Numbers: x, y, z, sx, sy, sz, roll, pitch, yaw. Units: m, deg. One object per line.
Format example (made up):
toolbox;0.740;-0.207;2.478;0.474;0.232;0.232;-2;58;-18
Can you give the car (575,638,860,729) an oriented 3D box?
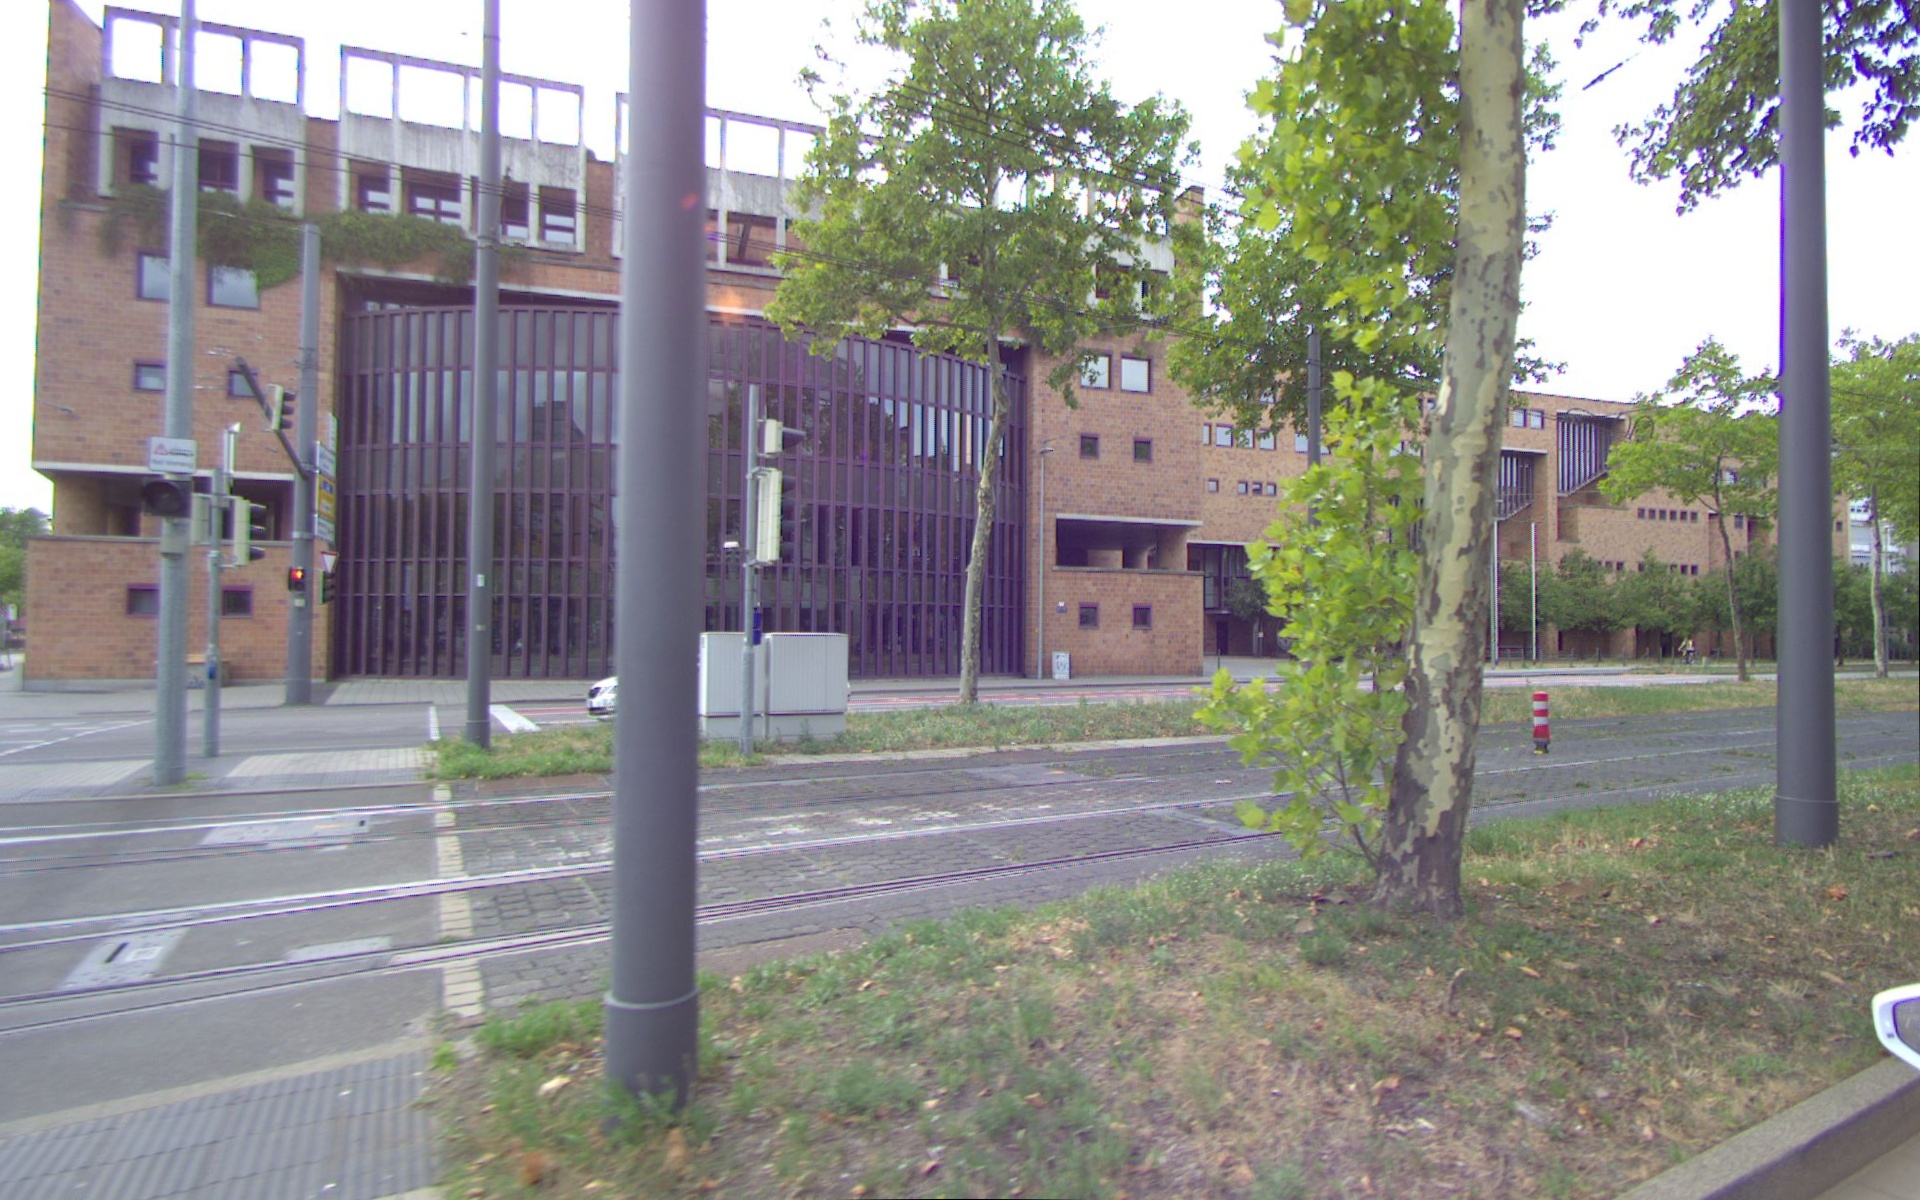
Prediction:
car;-4.232;1.392;17.794;4.604;1.440;1.775;1;-2;-31

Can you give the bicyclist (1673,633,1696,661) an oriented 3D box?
bicyclist;41.530;2.679;57.591;0.971;1.611;0.662;1;-2;-26

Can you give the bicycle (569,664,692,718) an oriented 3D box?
bicycle;-6.210;1.704;18.985;2.099;0.929;0.726;1;-2;-31

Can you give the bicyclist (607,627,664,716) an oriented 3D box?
bicyclist;-6.148;1.333;19.023;0.891;1.630;0.719;1;-2;-30

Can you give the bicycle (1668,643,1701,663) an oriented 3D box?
bicycle;41.540;3.030;57.594;2.066;1.098;0.666;1;-2;-26
